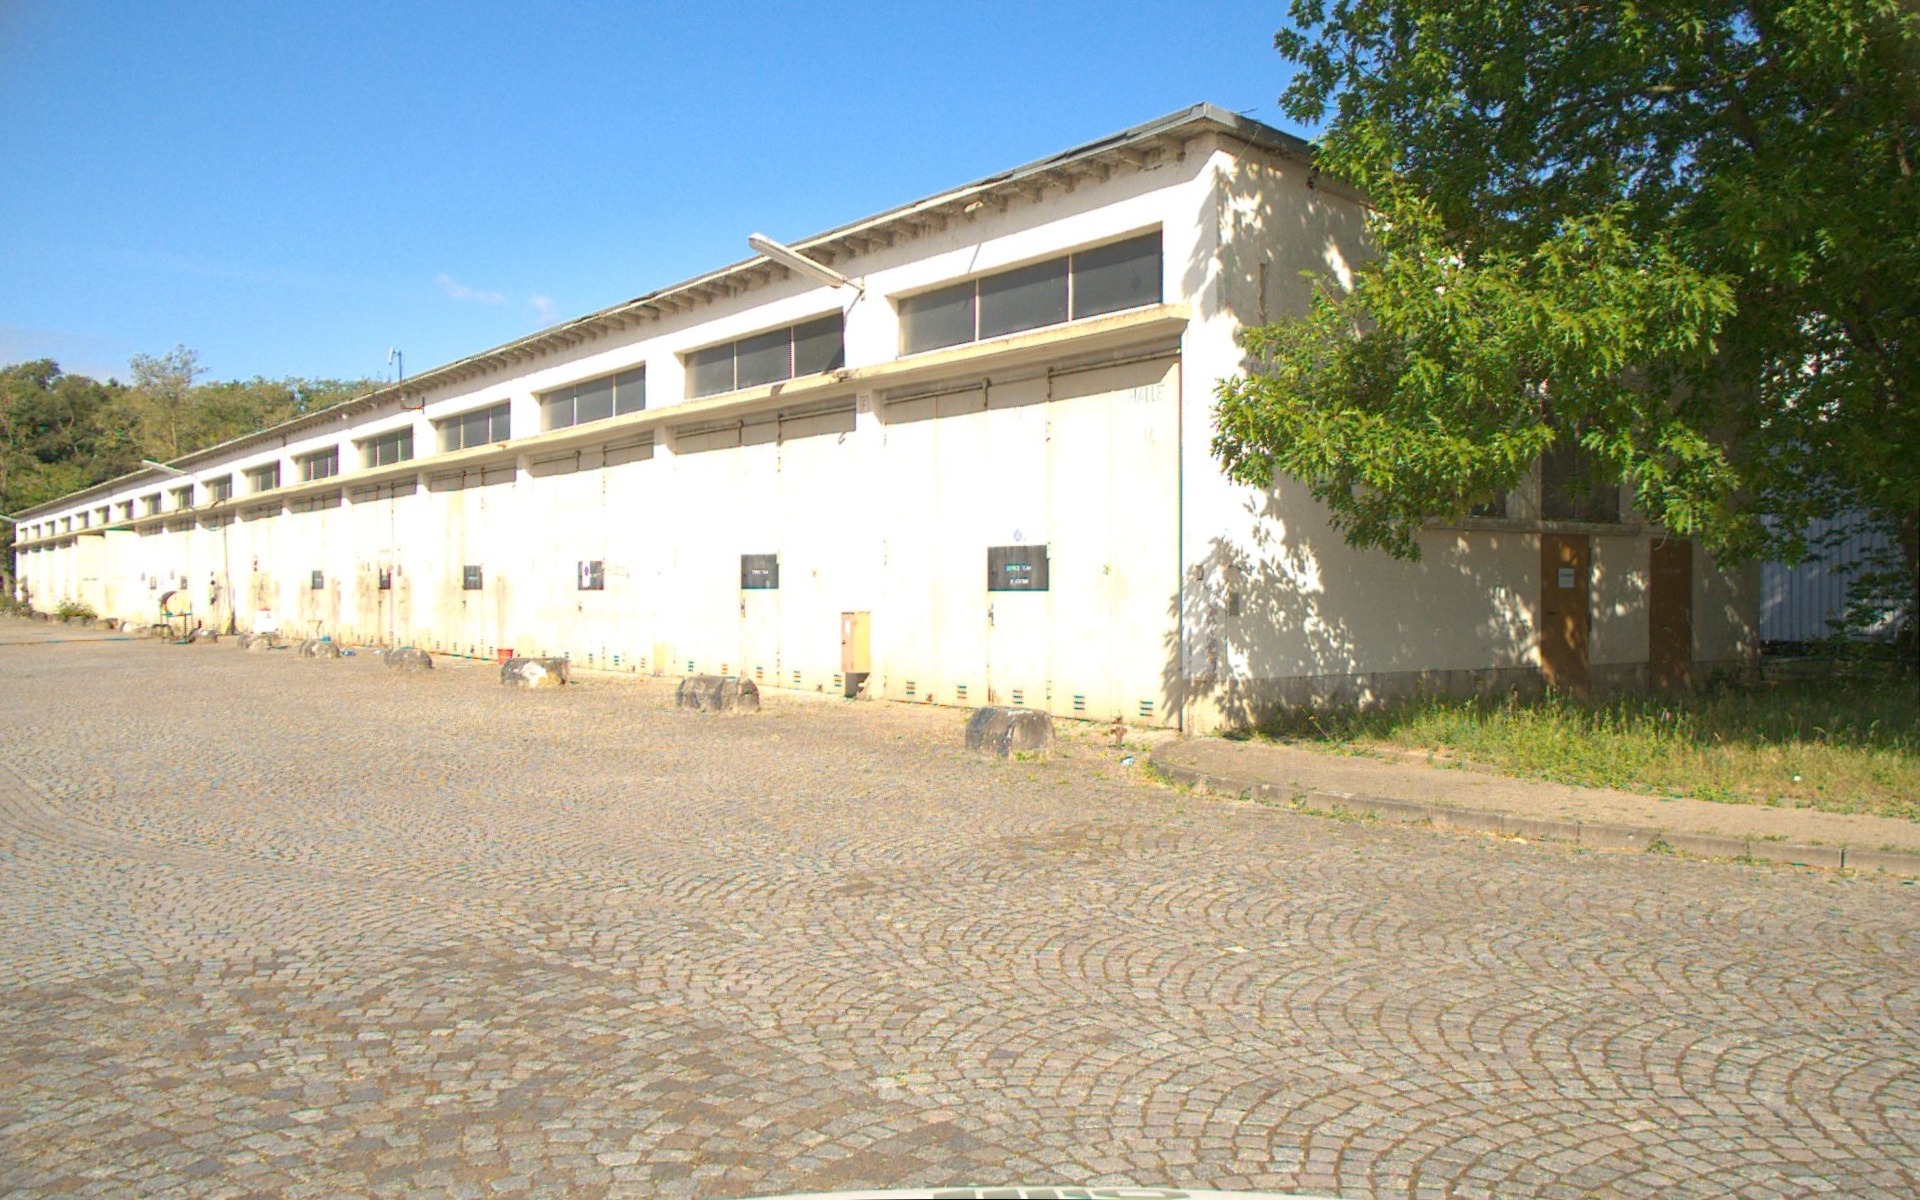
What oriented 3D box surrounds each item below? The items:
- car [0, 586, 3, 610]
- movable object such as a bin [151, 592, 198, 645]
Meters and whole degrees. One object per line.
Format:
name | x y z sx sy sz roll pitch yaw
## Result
car | -66.570 -0.156 113.200 1.666 1.591 3.962 0 0 -28
movable object such as a bin | -20.431 0.466 43.028 0.818 1.355 1.261 0 0 -40
